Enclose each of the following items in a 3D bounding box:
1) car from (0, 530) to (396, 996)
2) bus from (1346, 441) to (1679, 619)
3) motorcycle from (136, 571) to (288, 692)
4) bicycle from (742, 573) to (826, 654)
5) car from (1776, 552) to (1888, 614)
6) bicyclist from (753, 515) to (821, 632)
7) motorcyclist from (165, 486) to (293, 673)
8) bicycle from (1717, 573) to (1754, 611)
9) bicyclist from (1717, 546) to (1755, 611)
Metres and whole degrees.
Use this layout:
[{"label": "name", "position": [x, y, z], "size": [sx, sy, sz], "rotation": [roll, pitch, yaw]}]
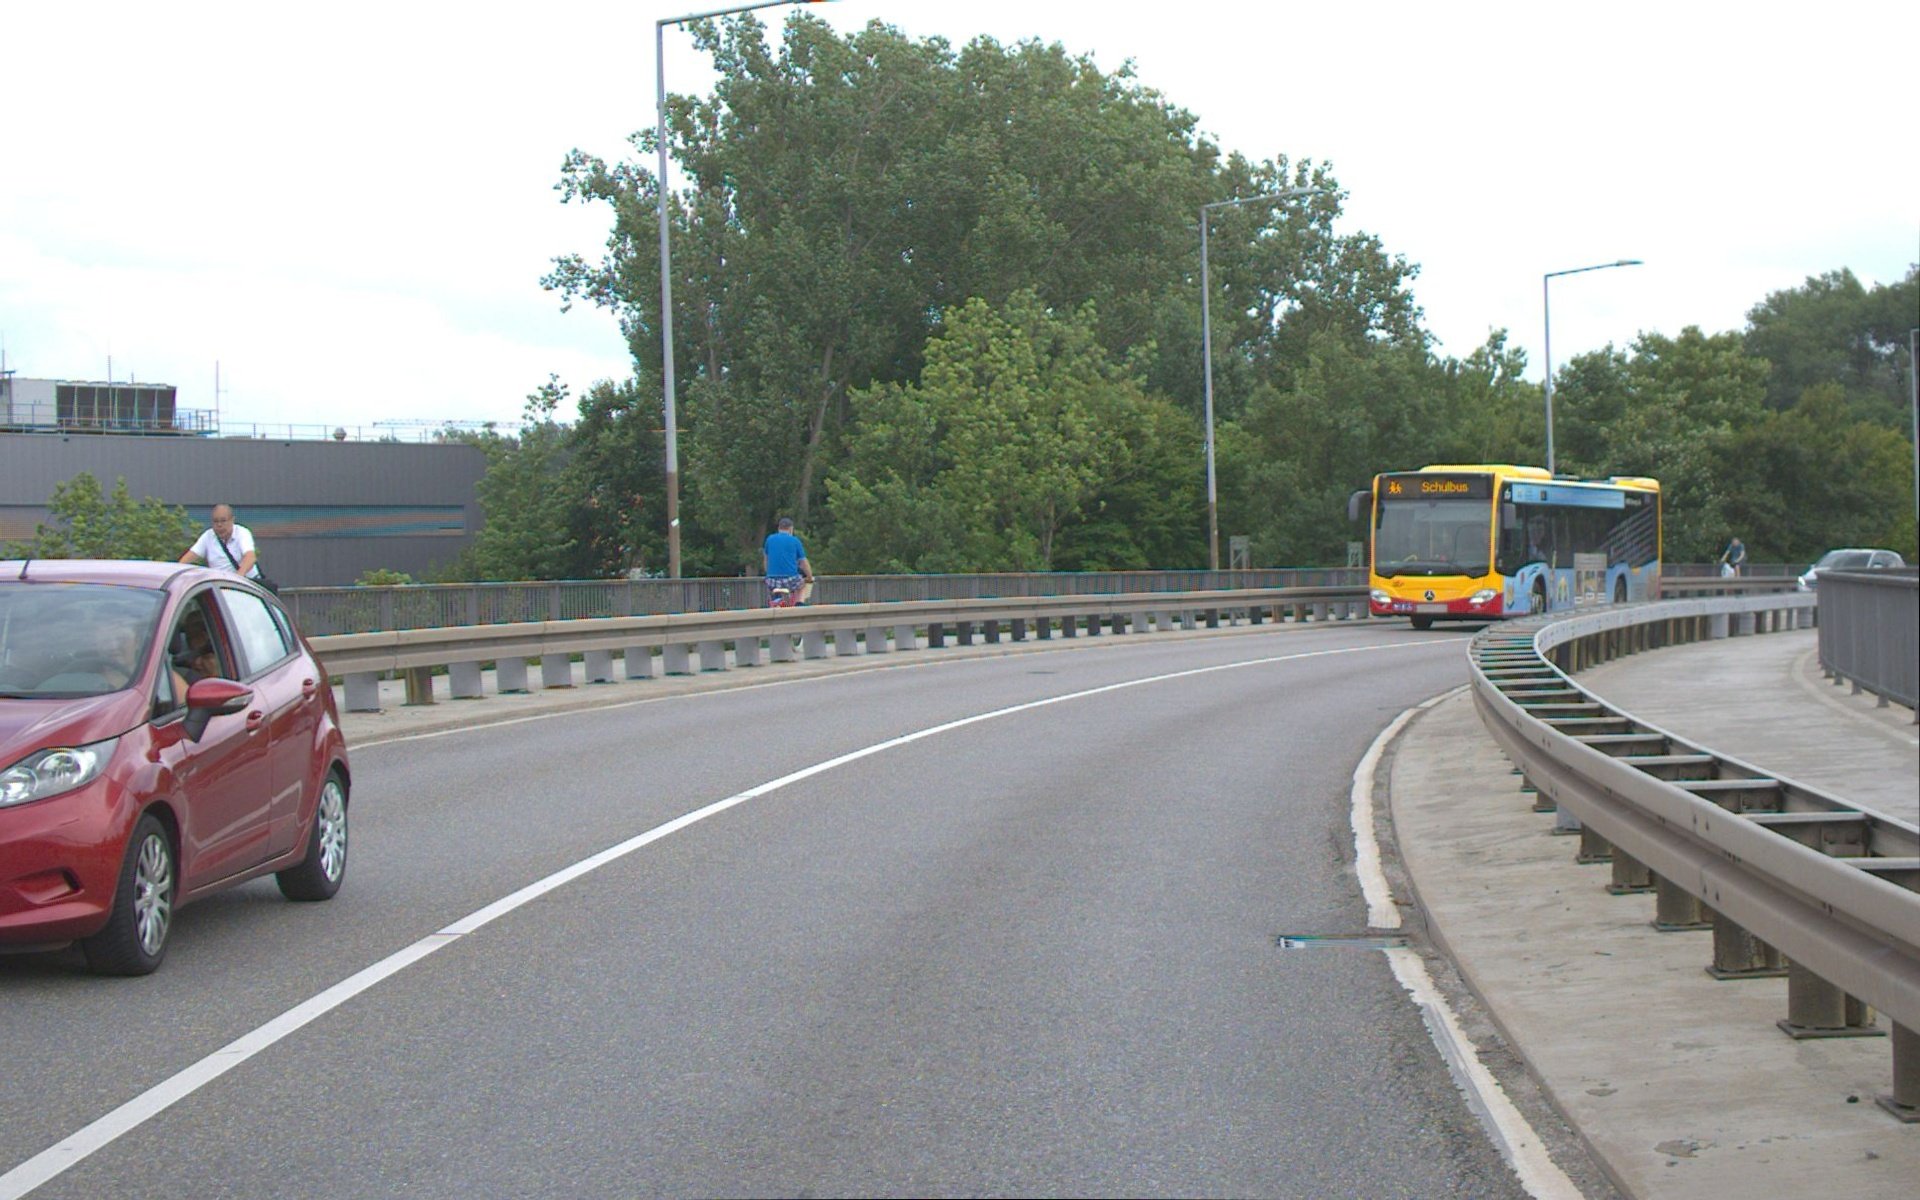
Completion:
[{"label": "car", "position": [-3.498, 0.507, 13.062], "size": [1.759, 1.487, 3.999], "rotation": [1, 0, 4]}, {"label": "bus", "position": [11.291, -1.279, 68.728], "size": [3.036, 3.222, 12.933], "rotation": [1, 0, 25]}, {"label": "motorcycle", "position": [-6.164, 0.247, 28.421], "size": [0.626, 0.960, 1.839], "rotation": [1, 0, 8]}, {"label": "bicycle", "position": [-2.307, 0.175, 45.325], "size": [0.493, 1.042, 1.808], "rotation": [1, 0, 18]}, {"label": "car", "position": [23.224, -0.452, 91.485], "size": [1.821, 1.615, 4.391], "rotation": [1, 0, 29]}, {"label": "bicyclist", "position": [-2.277, -0.348, 45.300], "size": [0.611, 1.535, 0.756], "rotation": [1, 0, 23]}, {"label": "motorcyclist", "position": [-6.061, -0.168, 28.531], "size": [0.810, 1.524, 0.824], "rotation": [1, 0, 7]}, {"label": "bicycle", "position": [21.658, -0.227, 95.998], "size": [0.646, 1.064, 1.759], "rotation": [1, 0, 25]}, {"label": "bicyclist", "position": [21.657, -0.595, 95.936], "size": [0.850, 1.802, 0.795], "rotation": [1, 0, 25]}]
